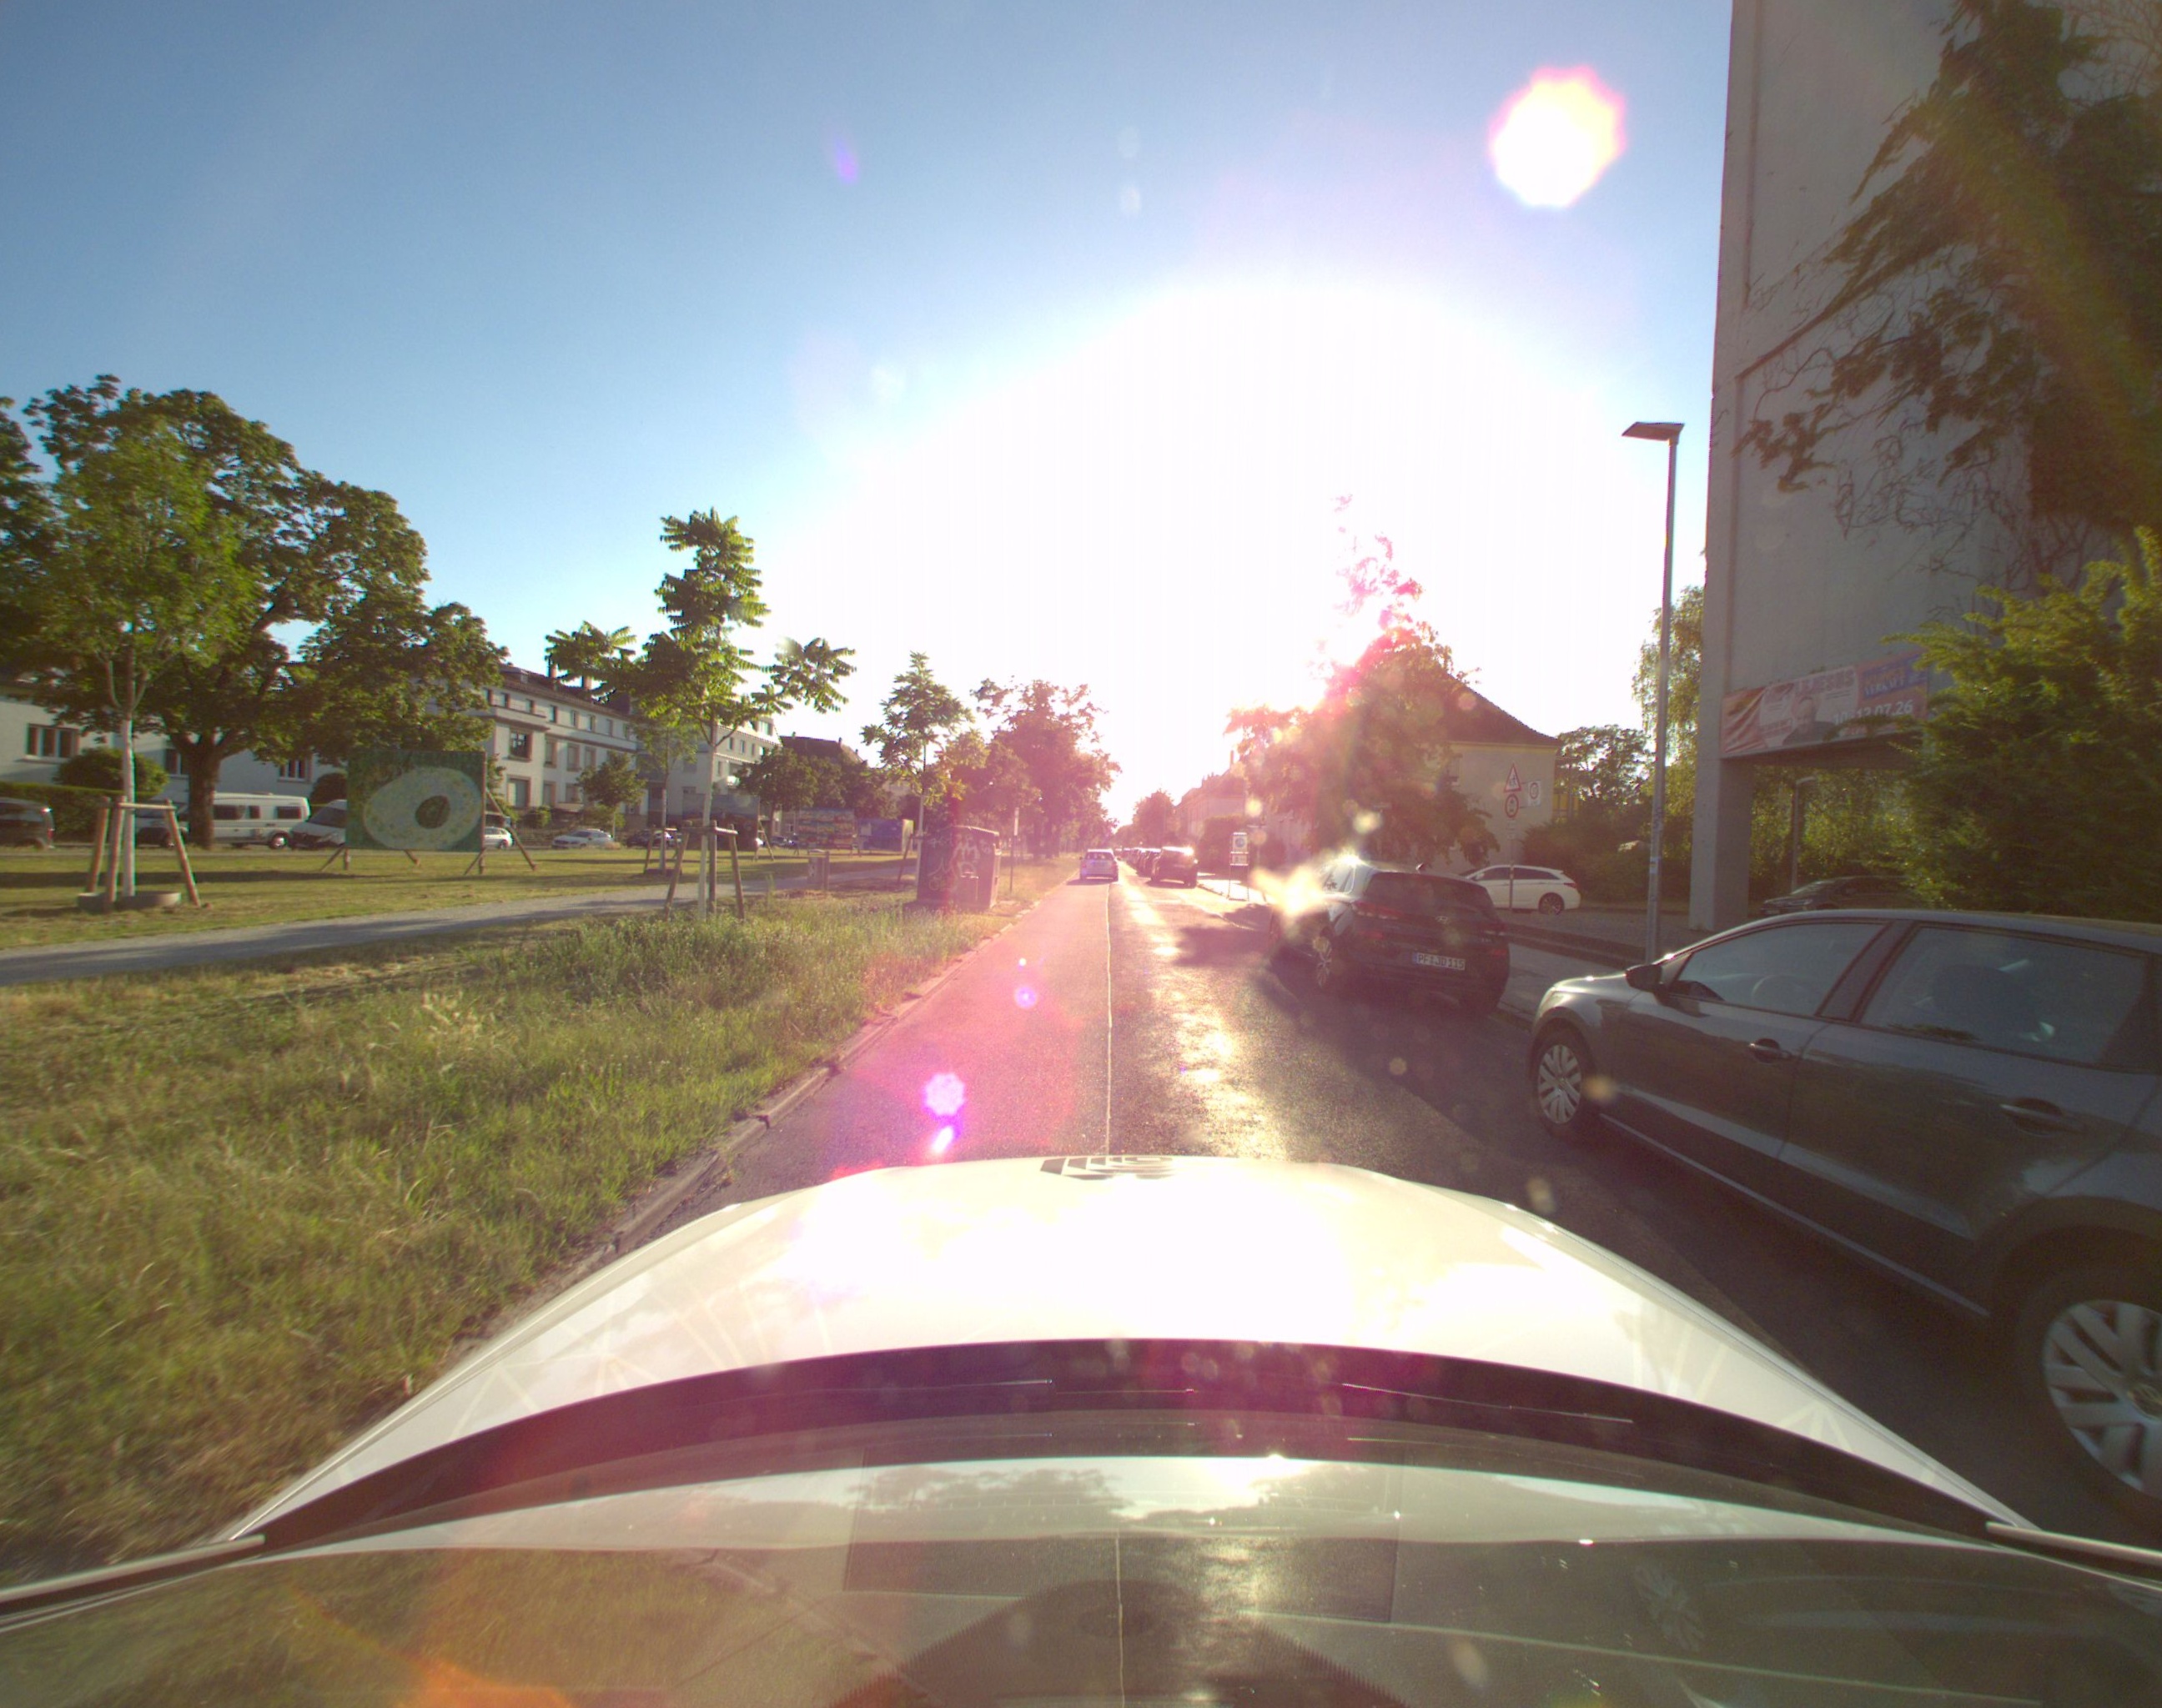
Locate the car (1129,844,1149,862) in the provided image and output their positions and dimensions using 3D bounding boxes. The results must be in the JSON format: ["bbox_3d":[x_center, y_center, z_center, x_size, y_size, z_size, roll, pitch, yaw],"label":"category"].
[{"bbox_3d":[5.845,-0.100,82.680,1.770,1.643,4.758,2,0,1],"label":"car"}]

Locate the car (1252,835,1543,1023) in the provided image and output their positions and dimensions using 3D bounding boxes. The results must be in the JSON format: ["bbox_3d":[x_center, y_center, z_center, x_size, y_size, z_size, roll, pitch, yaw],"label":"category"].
[{"bbox_3d":[3.513,0.681,10.105,1.815,1.560,4.625,8,1,2],"label":"car"}]

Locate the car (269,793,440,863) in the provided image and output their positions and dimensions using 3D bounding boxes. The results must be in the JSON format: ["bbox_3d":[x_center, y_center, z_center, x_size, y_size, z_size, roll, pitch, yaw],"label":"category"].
[{"bbox_3d":[-32.460,-1.052,36.739,2.251,2.826,5.874,-2,0,2],"label":"car"}]

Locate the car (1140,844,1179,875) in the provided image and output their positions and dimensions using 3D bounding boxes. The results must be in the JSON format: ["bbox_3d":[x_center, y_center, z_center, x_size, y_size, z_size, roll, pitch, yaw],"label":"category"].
[{"bbox_3d":[4.805,0.291,50.346,1.926,1.720,4.623,5,1,1],"label":"car"}]

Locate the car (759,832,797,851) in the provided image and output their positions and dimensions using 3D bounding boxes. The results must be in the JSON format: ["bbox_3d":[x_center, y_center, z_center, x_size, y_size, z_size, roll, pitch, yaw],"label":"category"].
[{"bbox_3d":[-30.868,-1.260,83.103,1.921,1.828,4.694,-2,0,2],"label":"car"}]

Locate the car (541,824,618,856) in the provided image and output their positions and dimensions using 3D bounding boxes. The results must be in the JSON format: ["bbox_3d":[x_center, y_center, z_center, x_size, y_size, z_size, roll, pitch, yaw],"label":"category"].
[{"bbox_3d":[-32.154,-0.831,52.376,1.826,1.899,4.646,-2,0,3],"label":"car"}]

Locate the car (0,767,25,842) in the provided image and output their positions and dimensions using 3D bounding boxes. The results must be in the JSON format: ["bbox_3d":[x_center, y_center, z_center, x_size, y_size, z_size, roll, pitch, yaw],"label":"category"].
[{"bbox_3d":[-38.672,-1.723,26.305,2.128,2.604,5.325,-2,0,0],"label":"car"}]

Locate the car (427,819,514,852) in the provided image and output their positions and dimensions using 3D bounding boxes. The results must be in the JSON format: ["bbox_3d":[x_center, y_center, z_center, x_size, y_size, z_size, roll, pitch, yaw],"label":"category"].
[{"bbox_3d":[-37.905,-1.093,50.740,1.723,1.854,4.716,-2,0,2],"label":"car"}]

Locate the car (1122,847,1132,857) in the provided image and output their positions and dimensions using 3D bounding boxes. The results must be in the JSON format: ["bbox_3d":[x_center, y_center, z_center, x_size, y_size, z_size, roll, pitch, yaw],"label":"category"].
[{"bbox_3d":[7.716,-0.250,136.761,1.715,1.597,4.002,1,0,2],"label":"car"}]

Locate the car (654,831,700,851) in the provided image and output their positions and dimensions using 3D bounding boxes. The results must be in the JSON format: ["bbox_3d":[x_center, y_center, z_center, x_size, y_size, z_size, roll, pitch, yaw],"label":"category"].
[{"bbox_3d":[-37.235,-1.179,75.145,1.814,1.744,4.463,-2,0,3],"label":"car"}]

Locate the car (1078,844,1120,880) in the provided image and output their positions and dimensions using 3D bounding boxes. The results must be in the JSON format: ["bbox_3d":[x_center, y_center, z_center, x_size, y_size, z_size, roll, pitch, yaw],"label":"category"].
[{"bbox_3d":[0.885,0.340,37.992,1.816,1.566,4.003,1,1,2],"label":"car"}]

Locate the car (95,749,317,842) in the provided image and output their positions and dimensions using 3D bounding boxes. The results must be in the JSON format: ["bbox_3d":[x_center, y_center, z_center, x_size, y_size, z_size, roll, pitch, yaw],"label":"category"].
[{"bbox_3d":[-38.197,-2.390,35.986,2.294,3.559,6.768,-2,0,2],"label":"car"}]

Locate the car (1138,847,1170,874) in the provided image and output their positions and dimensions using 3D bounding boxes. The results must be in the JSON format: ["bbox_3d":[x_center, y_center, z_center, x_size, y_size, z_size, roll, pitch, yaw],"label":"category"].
[{"bbox_3d":[4.952,0.403,55.873,1.847,1.657,4.823,3,1,2],"label":"car"}]

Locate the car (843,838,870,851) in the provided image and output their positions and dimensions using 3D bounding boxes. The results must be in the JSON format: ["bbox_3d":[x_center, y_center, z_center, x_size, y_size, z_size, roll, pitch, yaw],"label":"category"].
[{"bbox_3d":[-30.172,-1.297,109.621,1.975,1.637,4.832,-2,0,4],"label":"car"}]

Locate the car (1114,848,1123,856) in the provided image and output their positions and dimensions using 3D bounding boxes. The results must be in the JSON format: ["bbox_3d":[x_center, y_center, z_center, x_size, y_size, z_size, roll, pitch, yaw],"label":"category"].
[{"bbox_3d":[9.012,-0.495,194.995,1.981,2.023,4.003,2,0,2],"label":"car"}]

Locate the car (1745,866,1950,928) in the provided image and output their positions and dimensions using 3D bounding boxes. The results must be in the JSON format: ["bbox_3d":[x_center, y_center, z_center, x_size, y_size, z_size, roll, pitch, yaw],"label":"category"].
[{"bbox_3d":[22.688,1.237,24.258,4.097,1.510,2.002,2,1,4],"label":"car"}]

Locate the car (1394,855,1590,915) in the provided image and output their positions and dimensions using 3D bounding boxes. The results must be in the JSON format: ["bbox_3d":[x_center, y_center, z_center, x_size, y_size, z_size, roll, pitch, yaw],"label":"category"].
[{"bbox_3d":[12.128,0.932,24.240,4.829,1.486,2.002,3,-3,1],"label":"car"}]

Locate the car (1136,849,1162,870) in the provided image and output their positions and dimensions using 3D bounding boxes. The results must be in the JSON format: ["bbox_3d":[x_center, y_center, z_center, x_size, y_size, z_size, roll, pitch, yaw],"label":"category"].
[{"bbox_3d":[5.487,0.430,66.240,1.985,1.462,4.566,3,1,3],"label":"car"}]

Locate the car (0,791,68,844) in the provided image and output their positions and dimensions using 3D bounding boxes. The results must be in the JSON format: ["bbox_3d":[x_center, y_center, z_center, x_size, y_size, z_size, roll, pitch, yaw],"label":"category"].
[{"bbox_3d":[-32.549,-1.102,23.388,1.409,1.564,4.311,2,1,1],"label":"car"}]

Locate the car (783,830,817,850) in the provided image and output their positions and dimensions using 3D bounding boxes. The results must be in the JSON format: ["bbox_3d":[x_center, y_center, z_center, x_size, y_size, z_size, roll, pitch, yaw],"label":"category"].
[{"bbox_3d":[-30.838,-1.483,89.534,2.013,2.001,5.368,-2,0,-1],"label":"car"}]

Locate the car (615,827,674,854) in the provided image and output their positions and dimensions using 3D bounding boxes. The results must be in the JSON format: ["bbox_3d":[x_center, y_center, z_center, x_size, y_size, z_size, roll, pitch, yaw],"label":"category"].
[{"bbox_3d":[-37.504,-1.115,70.183,2.229,2.131,4.857,-2,0,3],"label":"car"}]

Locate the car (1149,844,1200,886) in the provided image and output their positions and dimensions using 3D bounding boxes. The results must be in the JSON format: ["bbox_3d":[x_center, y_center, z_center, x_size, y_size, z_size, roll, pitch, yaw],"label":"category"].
[{"bbox_3d":[4.339,0.491,38.524,1.826,1.731,5.033,4,0,1],"label":"car"}]

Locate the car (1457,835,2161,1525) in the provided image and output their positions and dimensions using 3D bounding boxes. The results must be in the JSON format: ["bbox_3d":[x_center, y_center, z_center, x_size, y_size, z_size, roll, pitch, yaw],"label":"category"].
[{"bbox_3d":[3.372,0.770,3.393,1.681,1.527,4.177,6,2,2],"label":"car"}]
